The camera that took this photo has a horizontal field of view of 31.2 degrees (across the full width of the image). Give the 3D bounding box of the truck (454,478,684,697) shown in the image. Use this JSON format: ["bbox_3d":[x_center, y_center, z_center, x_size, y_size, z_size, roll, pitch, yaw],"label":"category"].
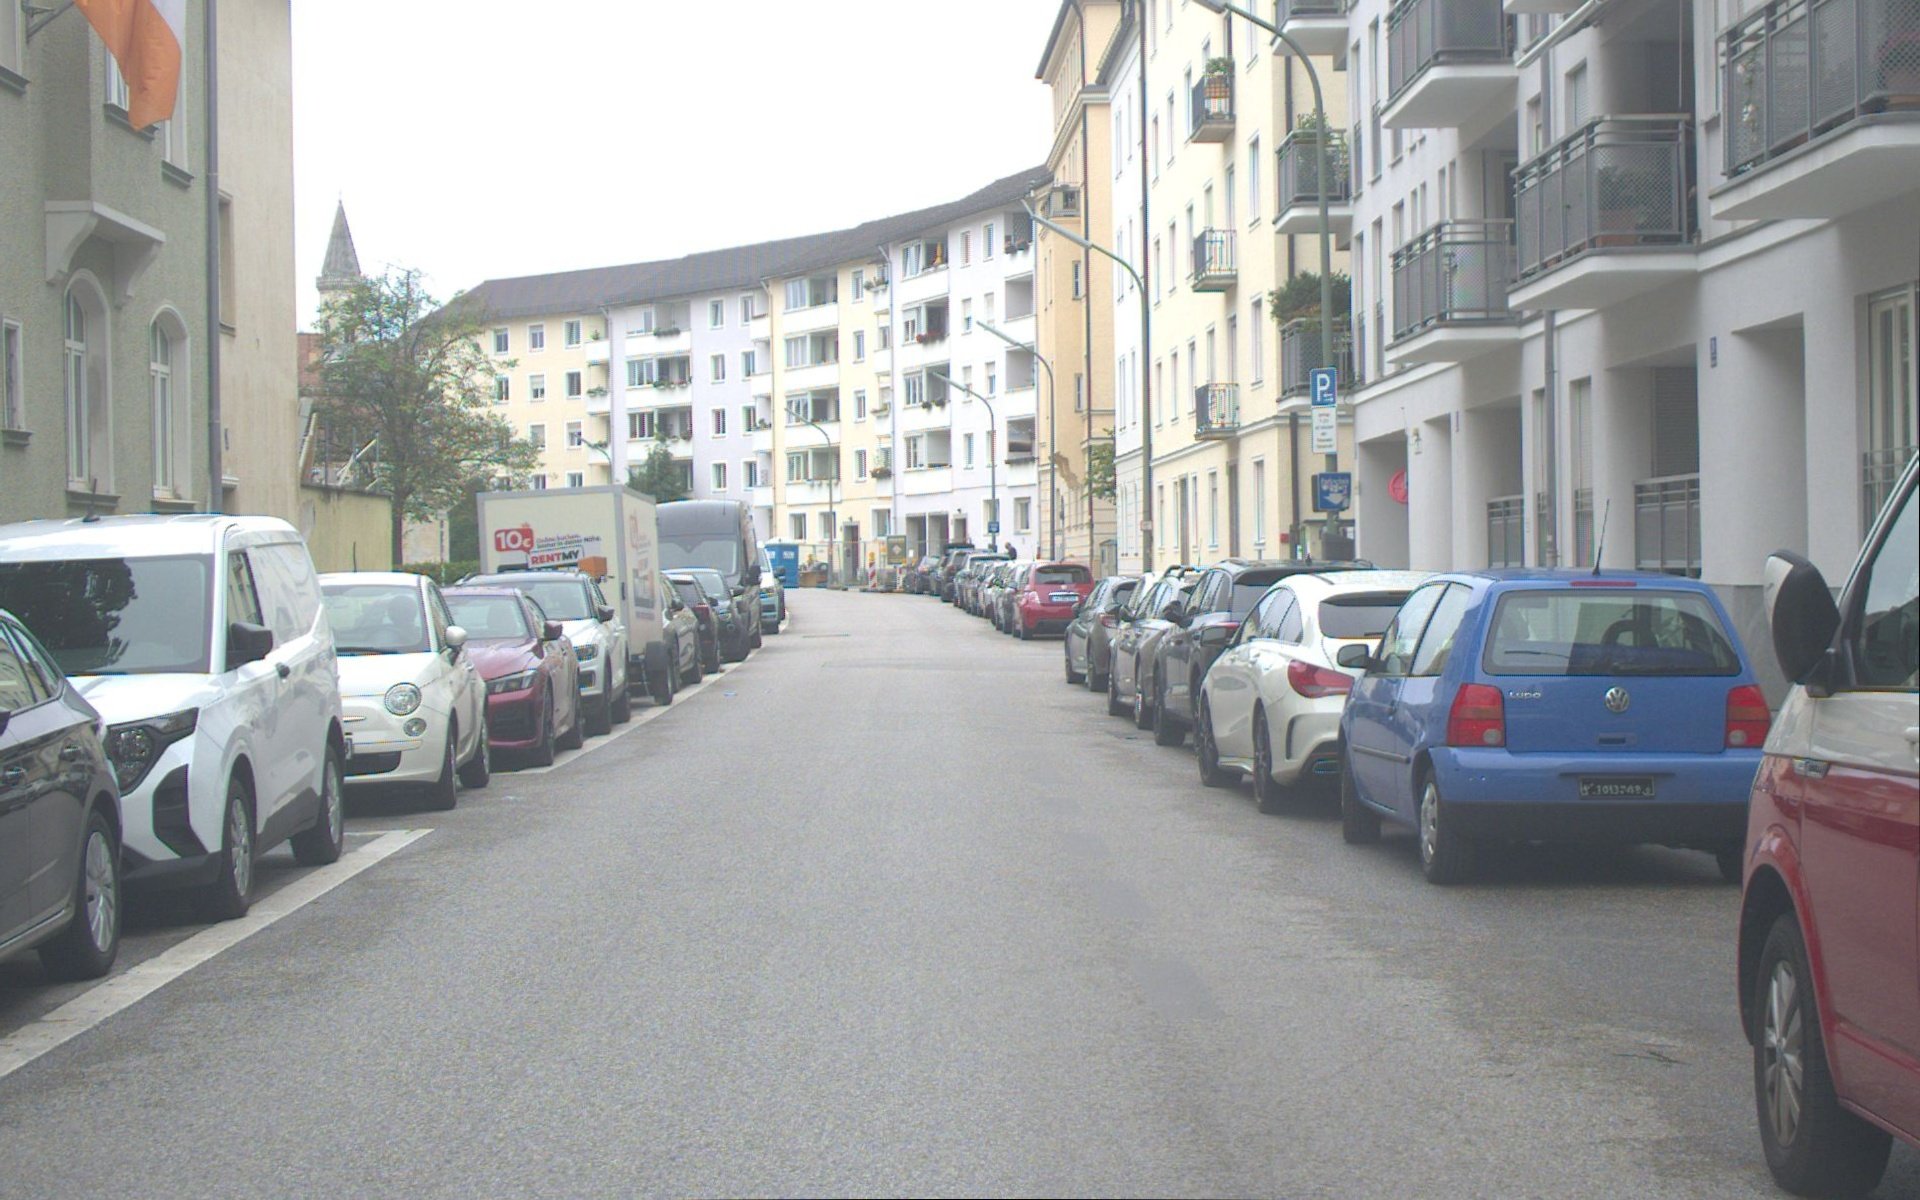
[{"bbox_3d":[-4.420,-0.152,39.659,1.993,2.311,5.410,-1,0,0],"label":"truck"}]

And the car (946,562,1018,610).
[{"bbox_3d":[0.640,-0.428,102.039,1.782,1.380,4.001,0,1,-5],"label":"car"}]

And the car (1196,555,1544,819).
[{"bbox_3d":[2.410,0.465,21.061,1.649,1.429,4.000,-1,0,0],"label":"car"}]

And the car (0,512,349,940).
[{"bbox_3d":[-4.007,0.505,15.850,1.820,1.705,4.000,-1,0,-3],"label":"car"}]

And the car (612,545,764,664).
[{"bbox_3d":[-4.216,0.050,53.825,1.993,1.756,4.381,-1,0,0],"label":"car"}]

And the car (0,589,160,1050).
[{"bbox_3d":[-3.914,0.710,11.208,1.744,1.440,4.000,-1,0,-1],"label":"car"}]

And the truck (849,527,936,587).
[{"bbox_3d":[-2.680,-1.711,135.418,2.225,2.292,5.292,0,1,-15],"label":"truck"}]

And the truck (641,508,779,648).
[{"bbox_3d":[-4.362,-0.391,60.727,1.993,2.311,5.410,-1,0,0],"label":"truck"}]

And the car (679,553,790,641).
[{"bbox_3d":[-4.682,-0.080,71.940,1.993,1.756,4.381,-1,0,0],"label":"car"}]

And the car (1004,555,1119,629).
[{"bbox_3d":[1.942,-0.175,66.816,1.782,1.380,4.001,0,1,-5],"label":"car"}]

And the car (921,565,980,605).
[{"bbox_3d":[-0.361,-0.550,121.695,1.782,1.380,4.001,0,1,-5],"label":"car"}]

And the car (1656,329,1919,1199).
[{"bbox_3d":[2.808,0.439,6.422,1.869,1.961,4.817,-1,0,-2],"label":"car"}]

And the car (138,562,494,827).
[{"bbox_3d":[-4.101,0.548,22.460,1.846,1.535,4.001,-1,0,-5],"label":"car"}]

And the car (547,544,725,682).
[{"bbox_3d":[-4.385,0.150,47.155,1.993,1.756,4.381,-1,0,0],"label":"car"}]

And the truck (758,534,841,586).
[{"bbox_3d":[-7.329,-1.825,156.698,2.621,2.292,5.442,0,1,-16],"label":"truck"}]

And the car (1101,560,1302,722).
[{"bbox_3d":[2.265,0.356,33.124,1.649,1.429,4.000,-1,0,0],"label":"car"}]

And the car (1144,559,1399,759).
[{"bbox_3d":[2.387,0.418,27.200,1.649,1.429,4.000,-1,0,0],"label":"car"}]

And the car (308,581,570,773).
[{"bbox_3d":[-4.046,0.556,27.234,1.751,1.364,4.001,-1,0,-5],"label":"car"}]

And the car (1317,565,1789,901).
[{"bbox_3d":[2.771,0.565,16.772,1.608,1.429,3.619,-1,0,-1],"label":"car"}]

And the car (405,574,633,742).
[{"bbox_3d":[-4.133,0.503,32.743,1.795,1.464,3.867,-1,0,-2],"label":"car"}]

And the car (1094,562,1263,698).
[{"bbox_3d":[2.440,0.304,39.216,1.649,1.429,4.284,-1,0,0],"label":"car"}]

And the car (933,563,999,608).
[{"bbox_3d":[0.185,-0.477,110.643,1.782,1.380,4.001,0,1,-5],"label":"car"}]
